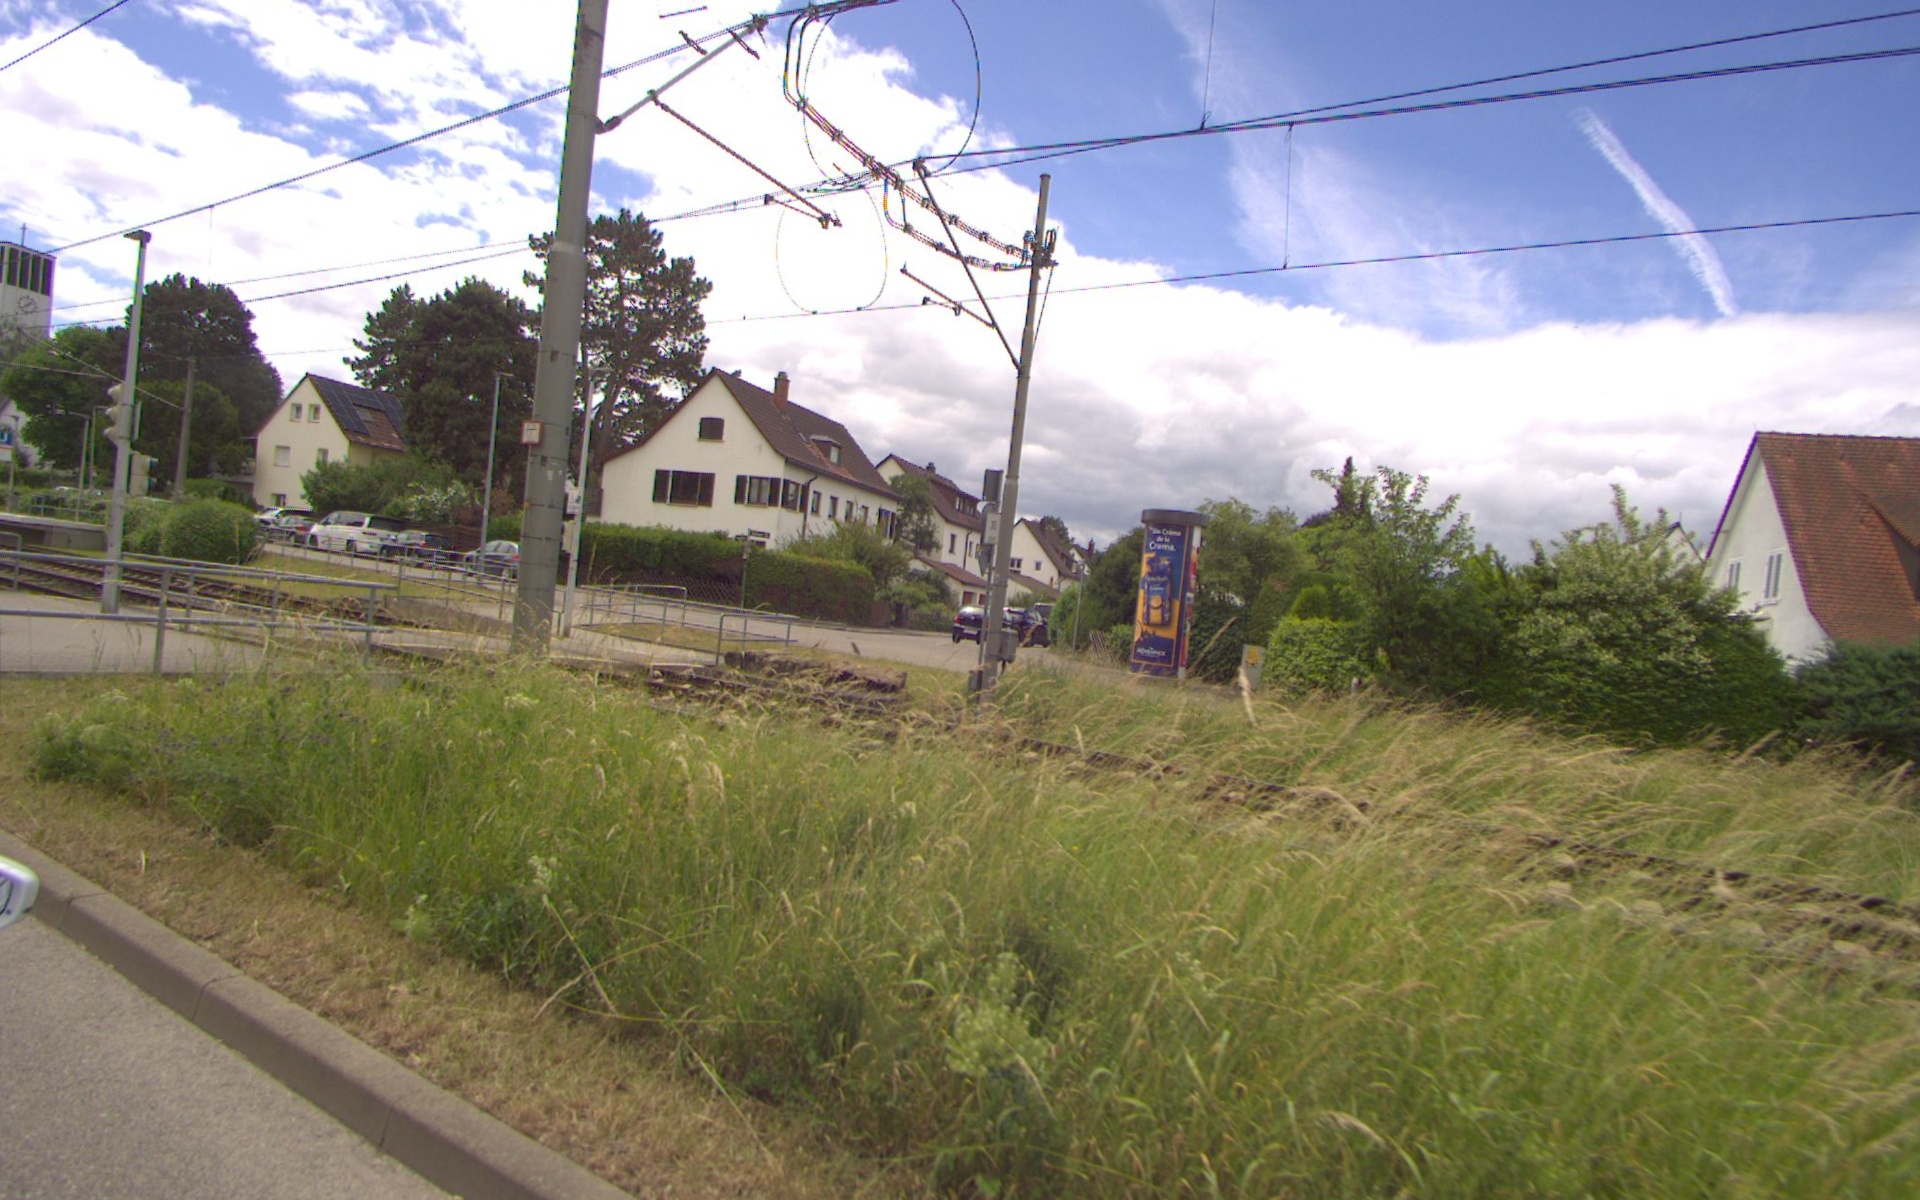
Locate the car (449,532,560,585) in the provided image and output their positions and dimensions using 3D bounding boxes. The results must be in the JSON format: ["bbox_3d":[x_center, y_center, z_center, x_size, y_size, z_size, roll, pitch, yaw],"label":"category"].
[{"bbox_3d":[-17.201,-1.576,37.953,3.935,1.541,1.885,6,0,33],"label":"car"}]

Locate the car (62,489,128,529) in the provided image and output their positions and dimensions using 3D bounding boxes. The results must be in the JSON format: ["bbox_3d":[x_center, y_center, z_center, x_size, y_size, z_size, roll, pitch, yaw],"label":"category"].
[{"bbox_3d":[-51.036,-5.376,59.338,3.870,1.936,1.735,6,-2,32],"label":"car"}]

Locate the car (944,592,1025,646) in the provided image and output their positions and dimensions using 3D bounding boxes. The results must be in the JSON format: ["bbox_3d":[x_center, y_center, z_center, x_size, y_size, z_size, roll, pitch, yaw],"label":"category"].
[{"bbox_3d":[0.954,0.718,36.148,1.791,1.643,3.732,7,0,18],"label":"car"}]

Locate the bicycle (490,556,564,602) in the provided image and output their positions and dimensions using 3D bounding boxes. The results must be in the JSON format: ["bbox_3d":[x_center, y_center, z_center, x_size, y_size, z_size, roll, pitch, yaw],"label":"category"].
[{"bbox_3d":[-12.105,-0.600,28.083,2.498,1.058,0.538,6,1,33],"label":"bicycle"}]

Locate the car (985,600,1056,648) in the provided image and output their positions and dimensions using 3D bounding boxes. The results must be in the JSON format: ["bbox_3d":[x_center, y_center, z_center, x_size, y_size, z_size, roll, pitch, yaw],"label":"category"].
[{"bbox_3d":[2.503,0.998,40.682,1.791,1.643,3.973,7,0,18],"label":"car"}]

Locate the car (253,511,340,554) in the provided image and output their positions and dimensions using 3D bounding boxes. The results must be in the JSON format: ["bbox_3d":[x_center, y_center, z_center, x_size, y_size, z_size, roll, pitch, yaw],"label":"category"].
[{"bbox_3d":[-30.750,-3.121,46.606,3.935,1.541,1.885,6,0,33],"label":"car"}]

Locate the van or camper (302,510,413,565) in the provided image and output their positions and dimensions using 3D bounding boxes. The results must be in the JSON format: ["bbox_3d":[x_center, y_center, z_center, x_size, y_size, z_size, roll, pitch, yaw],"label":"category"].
[{"bbox_3d":[-26.020,-2.722,43.419,4.963,1.848,1.907,6,0,32],"label":"van or camper"}]

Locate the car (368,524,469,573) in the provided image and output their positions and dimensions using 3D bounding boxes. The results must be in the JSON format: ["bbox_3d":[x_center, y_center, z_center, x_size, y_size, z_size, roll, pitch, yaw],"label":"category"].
[{"bbox_3d":[-22.091,-2.117,41.013,3.935,1.541,1.885,6,0,33],"label":"car"}]

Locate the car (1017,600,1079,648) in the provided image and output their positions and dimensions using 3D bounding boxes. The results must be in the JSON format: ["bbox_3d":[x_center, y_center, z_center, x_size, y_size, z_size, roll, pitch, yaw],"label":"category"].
[{"bbox_3d":[4.013,1.125,45.502,1.791,1.887,3.642,7,0,19],"label":"car"}]

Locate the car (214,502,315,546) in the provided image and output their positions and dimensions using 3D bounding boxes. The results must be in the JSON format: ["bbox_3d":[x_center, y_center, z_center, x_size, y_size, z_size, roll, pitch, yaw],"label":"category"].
[{"bbox_3d":[-38.897,-4.235,56.373,1.715,1.970,4.332,7,3,26],"label":"car"}]
